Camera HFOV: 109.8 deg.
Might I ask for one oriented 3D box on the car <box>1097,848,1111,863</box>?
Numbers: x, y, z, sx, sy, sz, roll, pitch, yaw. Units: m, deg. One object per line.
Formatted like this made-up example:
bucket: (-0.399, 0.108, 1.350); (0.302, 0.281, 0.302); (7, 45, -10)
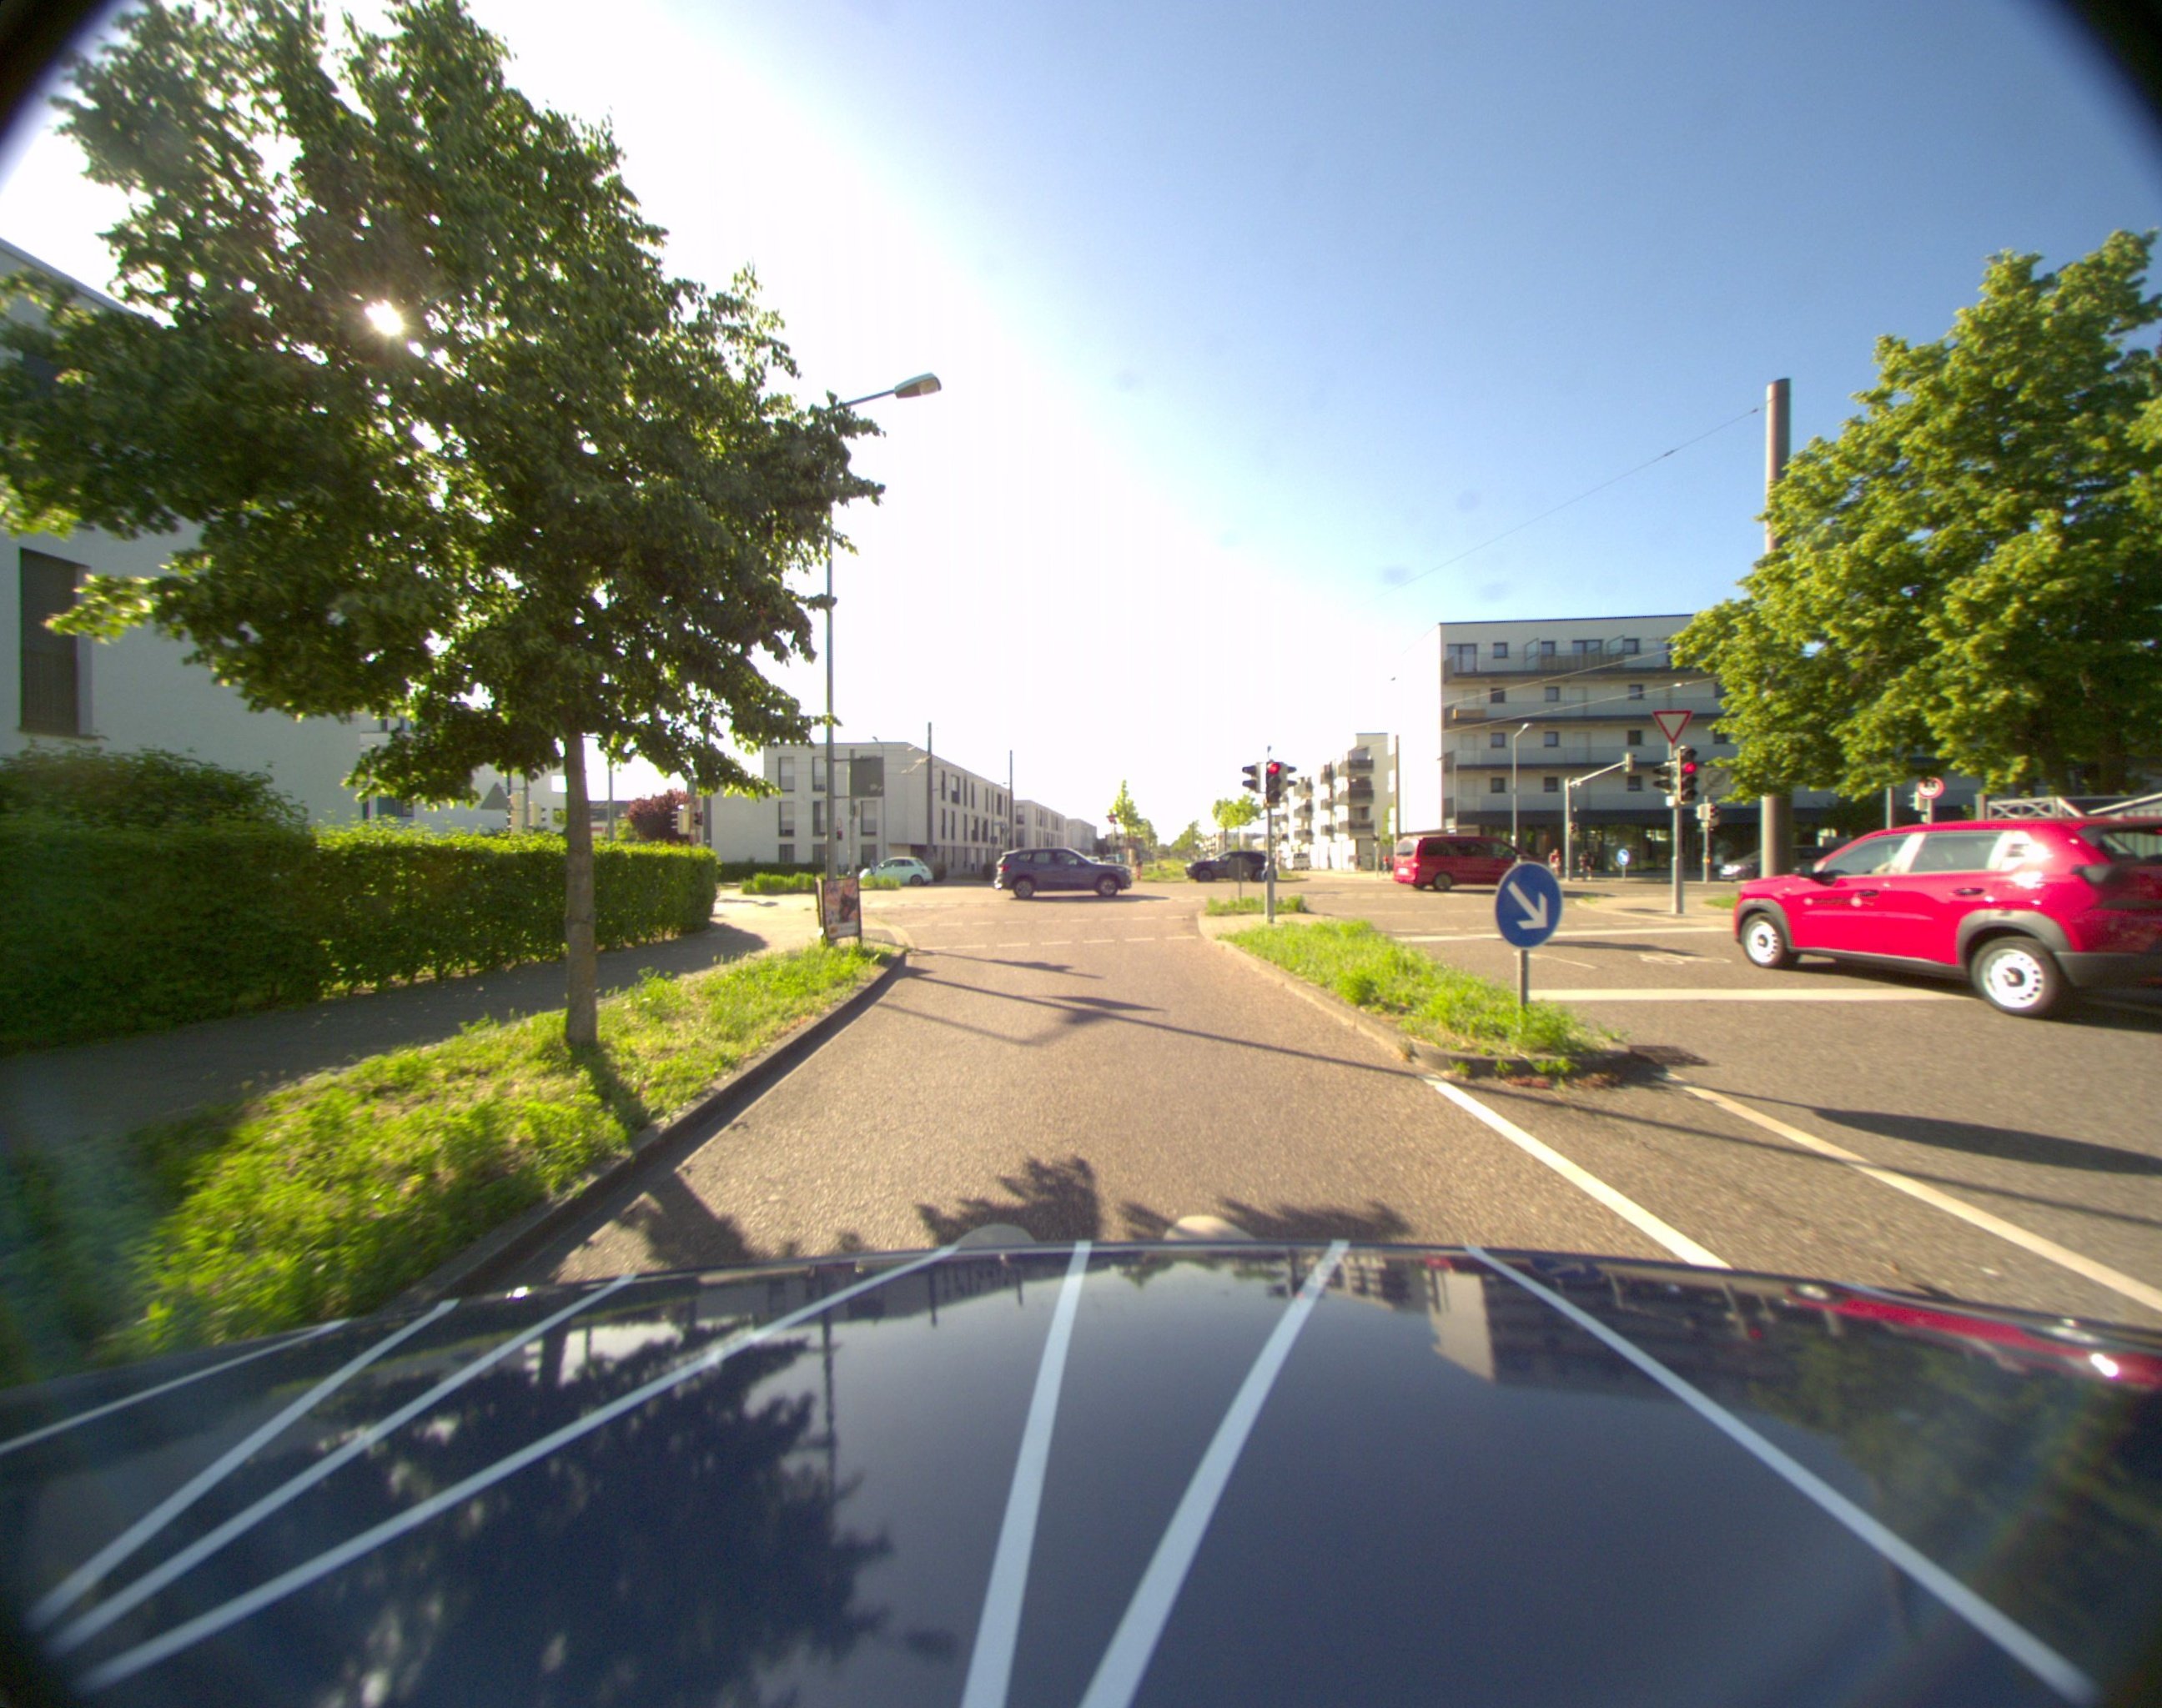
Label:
car: (3.351, 0.207, 110.900); (1.998, 2.002, 4.000); (-1, 0, 2)

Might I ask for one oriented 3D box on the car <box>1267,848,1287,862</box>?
car: (25.256, 0.112, 97.973); (1.997, 1.544, 4.000); (0, 2, 6)

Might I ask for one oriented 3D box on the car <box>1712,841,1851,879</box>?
car: (30.292, 0.269, 32.989); (3.993, 1.562, 2.002); (0, 0, 11)

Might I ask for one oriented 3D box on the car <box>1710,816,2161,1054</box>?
car: (8.266, 0.519, 6.984); (1.943, 1.579, 4.183); (-1, 0, 8)

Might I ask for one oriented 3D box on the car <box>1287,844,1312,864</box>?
car: (23.490, -0.034, 81.844); (1.997, 2.002, 4.001); (0, 2, 8)

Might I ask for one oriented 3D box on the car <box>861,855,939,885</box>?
car: (-9.274, 0.836, 39.179); (3.541, 1.478, 2.001); (0, -2, 0)

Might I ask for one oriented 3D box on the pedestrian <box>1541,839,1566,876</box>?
pedestrian: (25.884, 0.180, 41.624); (0.760, 2.002, 0.980); (0, 0, 2)

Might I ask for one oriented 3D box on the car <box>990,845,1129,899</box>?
car: (-0.719, 0.570, 25.199); (4.405, 1.663, 1.999); (0, 2, -2)

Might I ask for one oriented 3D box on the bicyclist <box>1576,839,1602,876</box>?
bicyclist: (27.358, 0.191, 40.935); (0.811, 2.002, 0.794); (0, 0, -5)

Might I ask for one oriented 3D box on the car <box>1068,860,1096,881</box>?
car: (0.105, 1.325, 63.113); (2.007, 1.655, 4.001); (0, 0, 4)

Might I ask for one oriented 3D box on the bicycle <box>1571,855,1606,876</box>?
bicycle: (27.362, 0.621, 40.998); (0.745, 1.137, 1.642); (0, 0, -5)

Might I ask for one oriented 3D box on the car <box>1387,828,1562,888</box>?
car: (13.768, 0.093, 26.794); (5.080, 1.958, 2.128); (-1, 2, -2)

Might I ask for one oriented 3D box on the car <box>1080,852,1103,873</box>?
car: (1.020, 0.830, 74.346); (1.998, 2.002, 4.001); (0, 0, 4)

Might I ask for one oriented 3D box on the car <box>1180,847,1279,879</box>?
car: (7.396, 0.462, 38.045); (4.733, 1.525, 1.975); (0, 0, 10)
